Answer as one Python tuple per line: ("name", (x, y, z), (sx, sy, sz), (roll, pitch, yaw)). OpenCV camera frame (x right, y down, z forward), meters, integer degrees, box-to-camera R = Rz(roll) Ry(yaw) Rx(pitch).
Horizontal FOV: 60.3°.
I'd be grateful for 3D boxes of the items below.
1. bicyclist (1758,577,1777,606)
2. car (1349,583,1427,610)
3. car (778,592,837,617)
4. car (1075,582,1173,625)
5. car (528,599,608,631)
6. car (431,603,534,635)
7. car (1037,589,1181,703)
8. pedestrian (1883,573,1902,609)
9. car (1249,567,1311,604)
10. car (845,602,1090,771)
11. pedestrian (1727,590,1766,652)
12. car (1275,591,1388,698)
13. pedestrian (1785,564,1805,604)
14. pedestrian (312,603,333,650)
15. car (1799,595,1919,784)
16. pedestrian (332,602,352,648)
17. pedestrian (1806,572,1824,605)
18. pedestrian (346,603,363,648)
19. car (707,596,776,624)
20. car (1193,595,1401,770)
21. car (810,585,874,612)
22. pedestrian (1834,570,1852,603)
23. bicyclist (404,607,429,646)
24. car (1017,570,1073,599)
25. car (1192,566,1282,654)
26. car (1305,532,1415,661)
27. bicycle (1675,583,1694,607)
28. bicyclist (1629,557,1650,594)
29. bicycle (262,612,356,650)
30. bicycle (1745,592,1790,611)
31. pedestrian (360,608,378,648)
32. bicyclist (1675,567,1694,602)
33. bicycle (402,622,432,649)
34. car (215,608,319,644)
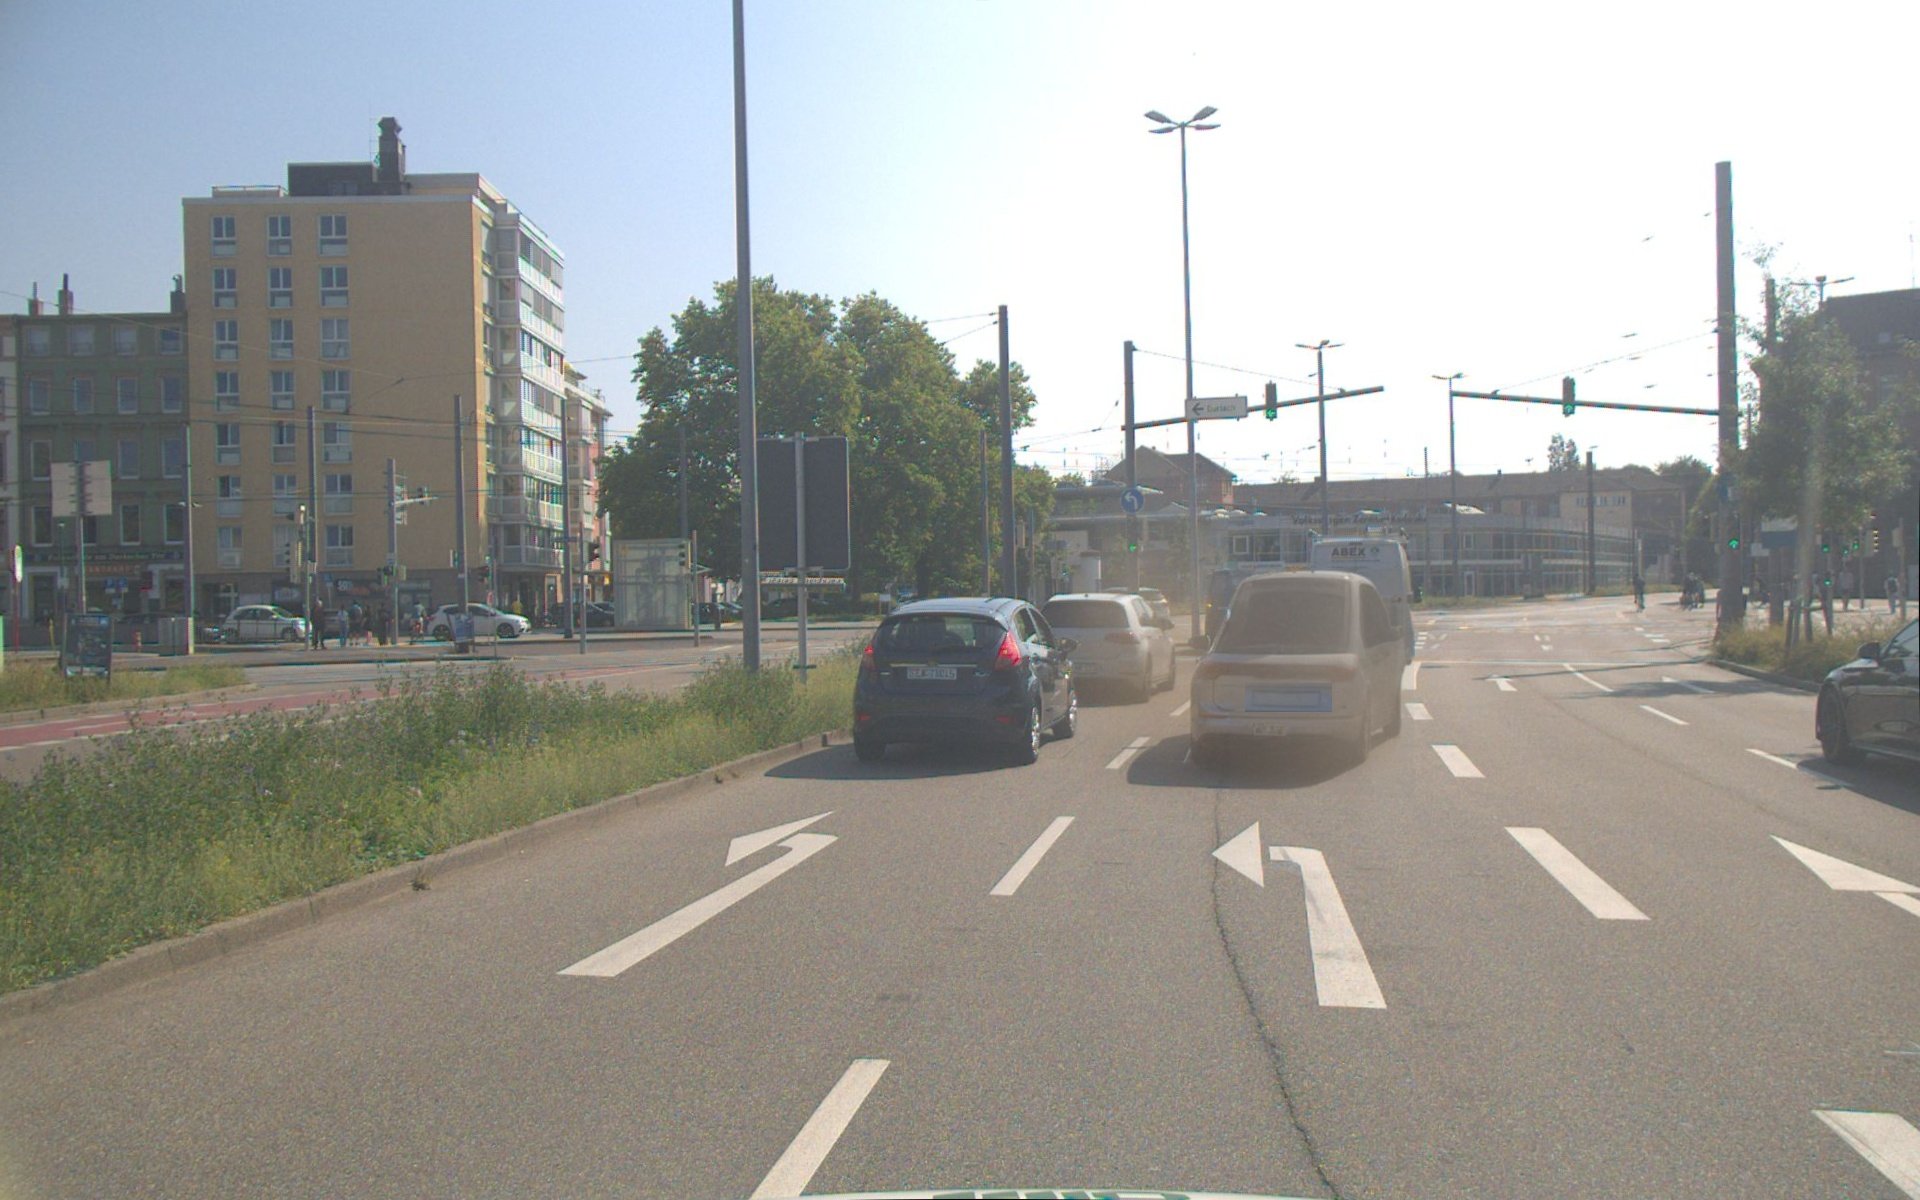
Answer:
("bicyclist", (41.399, -0.438, 84.784), (0.789, 1.486, 0.747), (-1, 0, 30))
("car", (23.123, -0.178, 89.463), (3.881, 1.366, 1.932), (-1, 0, 7))
("car", (-10.492, 0.313, 113.922), (3.906, 1.585, 1.727), (-1, 0, -2))
("car", (6.003, 0.142, 60.909), (1.605, 1.528, 4.049), (0, 0, -29))
("car", (-21.638, 0.822, 91.408), (3.905, 1.584, 1.869), (-1, 3, 0))
("car", (-19.344, 0.745, 67.084), (3.755, 1.200, 1.574), (-1, 0, -6))
("car", (2.184, 0.595, 23.469), (1.457, 1.440, 3.651), (-1, 1, 14))
("pedestrian", (36.561, -0.371, 64.836), (0.645, 1.384, 0.658), (0, 2, 29))
("car", (18.644, -0.838, 96.338), (1.958, 2.049, 4.652), (-1, 0, 32))
("car", (0.206, 0.735, 16.049), (1.665, 1.392, 3.967), (1, 0, 11))
("pedestrian", (17.941, 0.478, 37.725), (0.622, 1.386, 0.634), (-1, 0, 9))
("car", (5.395, 0.608, 24.096), (1.457, 1.427, 3.945), (-1, 0, 12))
("pedestrian", (40.084, -0.761, 79.402), (0.788, 1.922, 0.748), (-1, 0, 26))
("pedestrian", (-24.065, 0.992, 62.443), (0.445, 1.714, 0.547), (0, 3, 23))
("car", (8.417, 0.696, 13.108), (1.781, 1.465, 4.878), (0, 0, 10))
("pedestrian", (-23.495, 0.952, 62.877), (0.445, 1.714, 0.548), (-1, 2, 11))
("pedestrian", (36.674, -0.497, 70.953), (0.645, 1.384, 0.658), (0, 2, 29))
("pedestrian", (-23.424, 0.988, 63.937), (0.452, 1.714, 0.434), (-3, 3, -39))
("car", (-13.095, 0.595, 99.385), (3.906, 1.585, 1.727), (-1, 0, -2))
("car", (3.126, 0.677, 15.259), (1.649, 1.412, 3.637), (-1, 0, 12))
("car", (-7.424, -0.105, 104.395), (3.906, 1.585, 1.727), (-1, 0, -2))
("pedestrian", (37.818, -0.578, 70.844), (0.645, 1.384, 0.658), (0, 2, 29))
("bicyclist", (-20.941, 1.013, 63.734), (0.711, 1.459, 0.689), (-1, 0, -5))
("car", (6.345, -1.167, 122.668), (3.902, 2.048, 2.002), (-1, 3, 10))
("car", (6.989, 0.233, 41.443), (1.980, 2.043, 4.688), (-1, 0, 12))
("car", (8.655, -0.057, 35.677), (2.142, 2.594, 4.687), (-1, 0, 14))
("bicycle", (32.440, -0.228, 74.021), (0.692, 1.080, 1.981), (-1, 0, 25))
("bicyclist", (29.875, -1.053, 72.757), (0.757, 1.606, 0.989), (-1, 0, 27))
("bicycle", (-30.571, 1.449, 77.716), (3.907, 1.578, 1.195), (-1, 3, -3))
("bicycle", (41.399, 0.062, 84.781), (2.013, 0.910, 0.745), (-1, 0, 30))
("pedestrian", (-22.981, 1.103, 64.318), (0.494, 1.513, 0.434), (-3, 3, -39))
("bicyclist", (32.450, -0.709, 74.068), (0.698, 1.556, 0.806), (-1, 0, 26))
("bicycle", (-20.937, 1.358, 63.772), (0.713, 1.001, 1.730), (-1, 0, -5))
("car", (-29.111, 1.085, 69.567), (3.661, 1.417, 1.587), (-1, 0, -1))
